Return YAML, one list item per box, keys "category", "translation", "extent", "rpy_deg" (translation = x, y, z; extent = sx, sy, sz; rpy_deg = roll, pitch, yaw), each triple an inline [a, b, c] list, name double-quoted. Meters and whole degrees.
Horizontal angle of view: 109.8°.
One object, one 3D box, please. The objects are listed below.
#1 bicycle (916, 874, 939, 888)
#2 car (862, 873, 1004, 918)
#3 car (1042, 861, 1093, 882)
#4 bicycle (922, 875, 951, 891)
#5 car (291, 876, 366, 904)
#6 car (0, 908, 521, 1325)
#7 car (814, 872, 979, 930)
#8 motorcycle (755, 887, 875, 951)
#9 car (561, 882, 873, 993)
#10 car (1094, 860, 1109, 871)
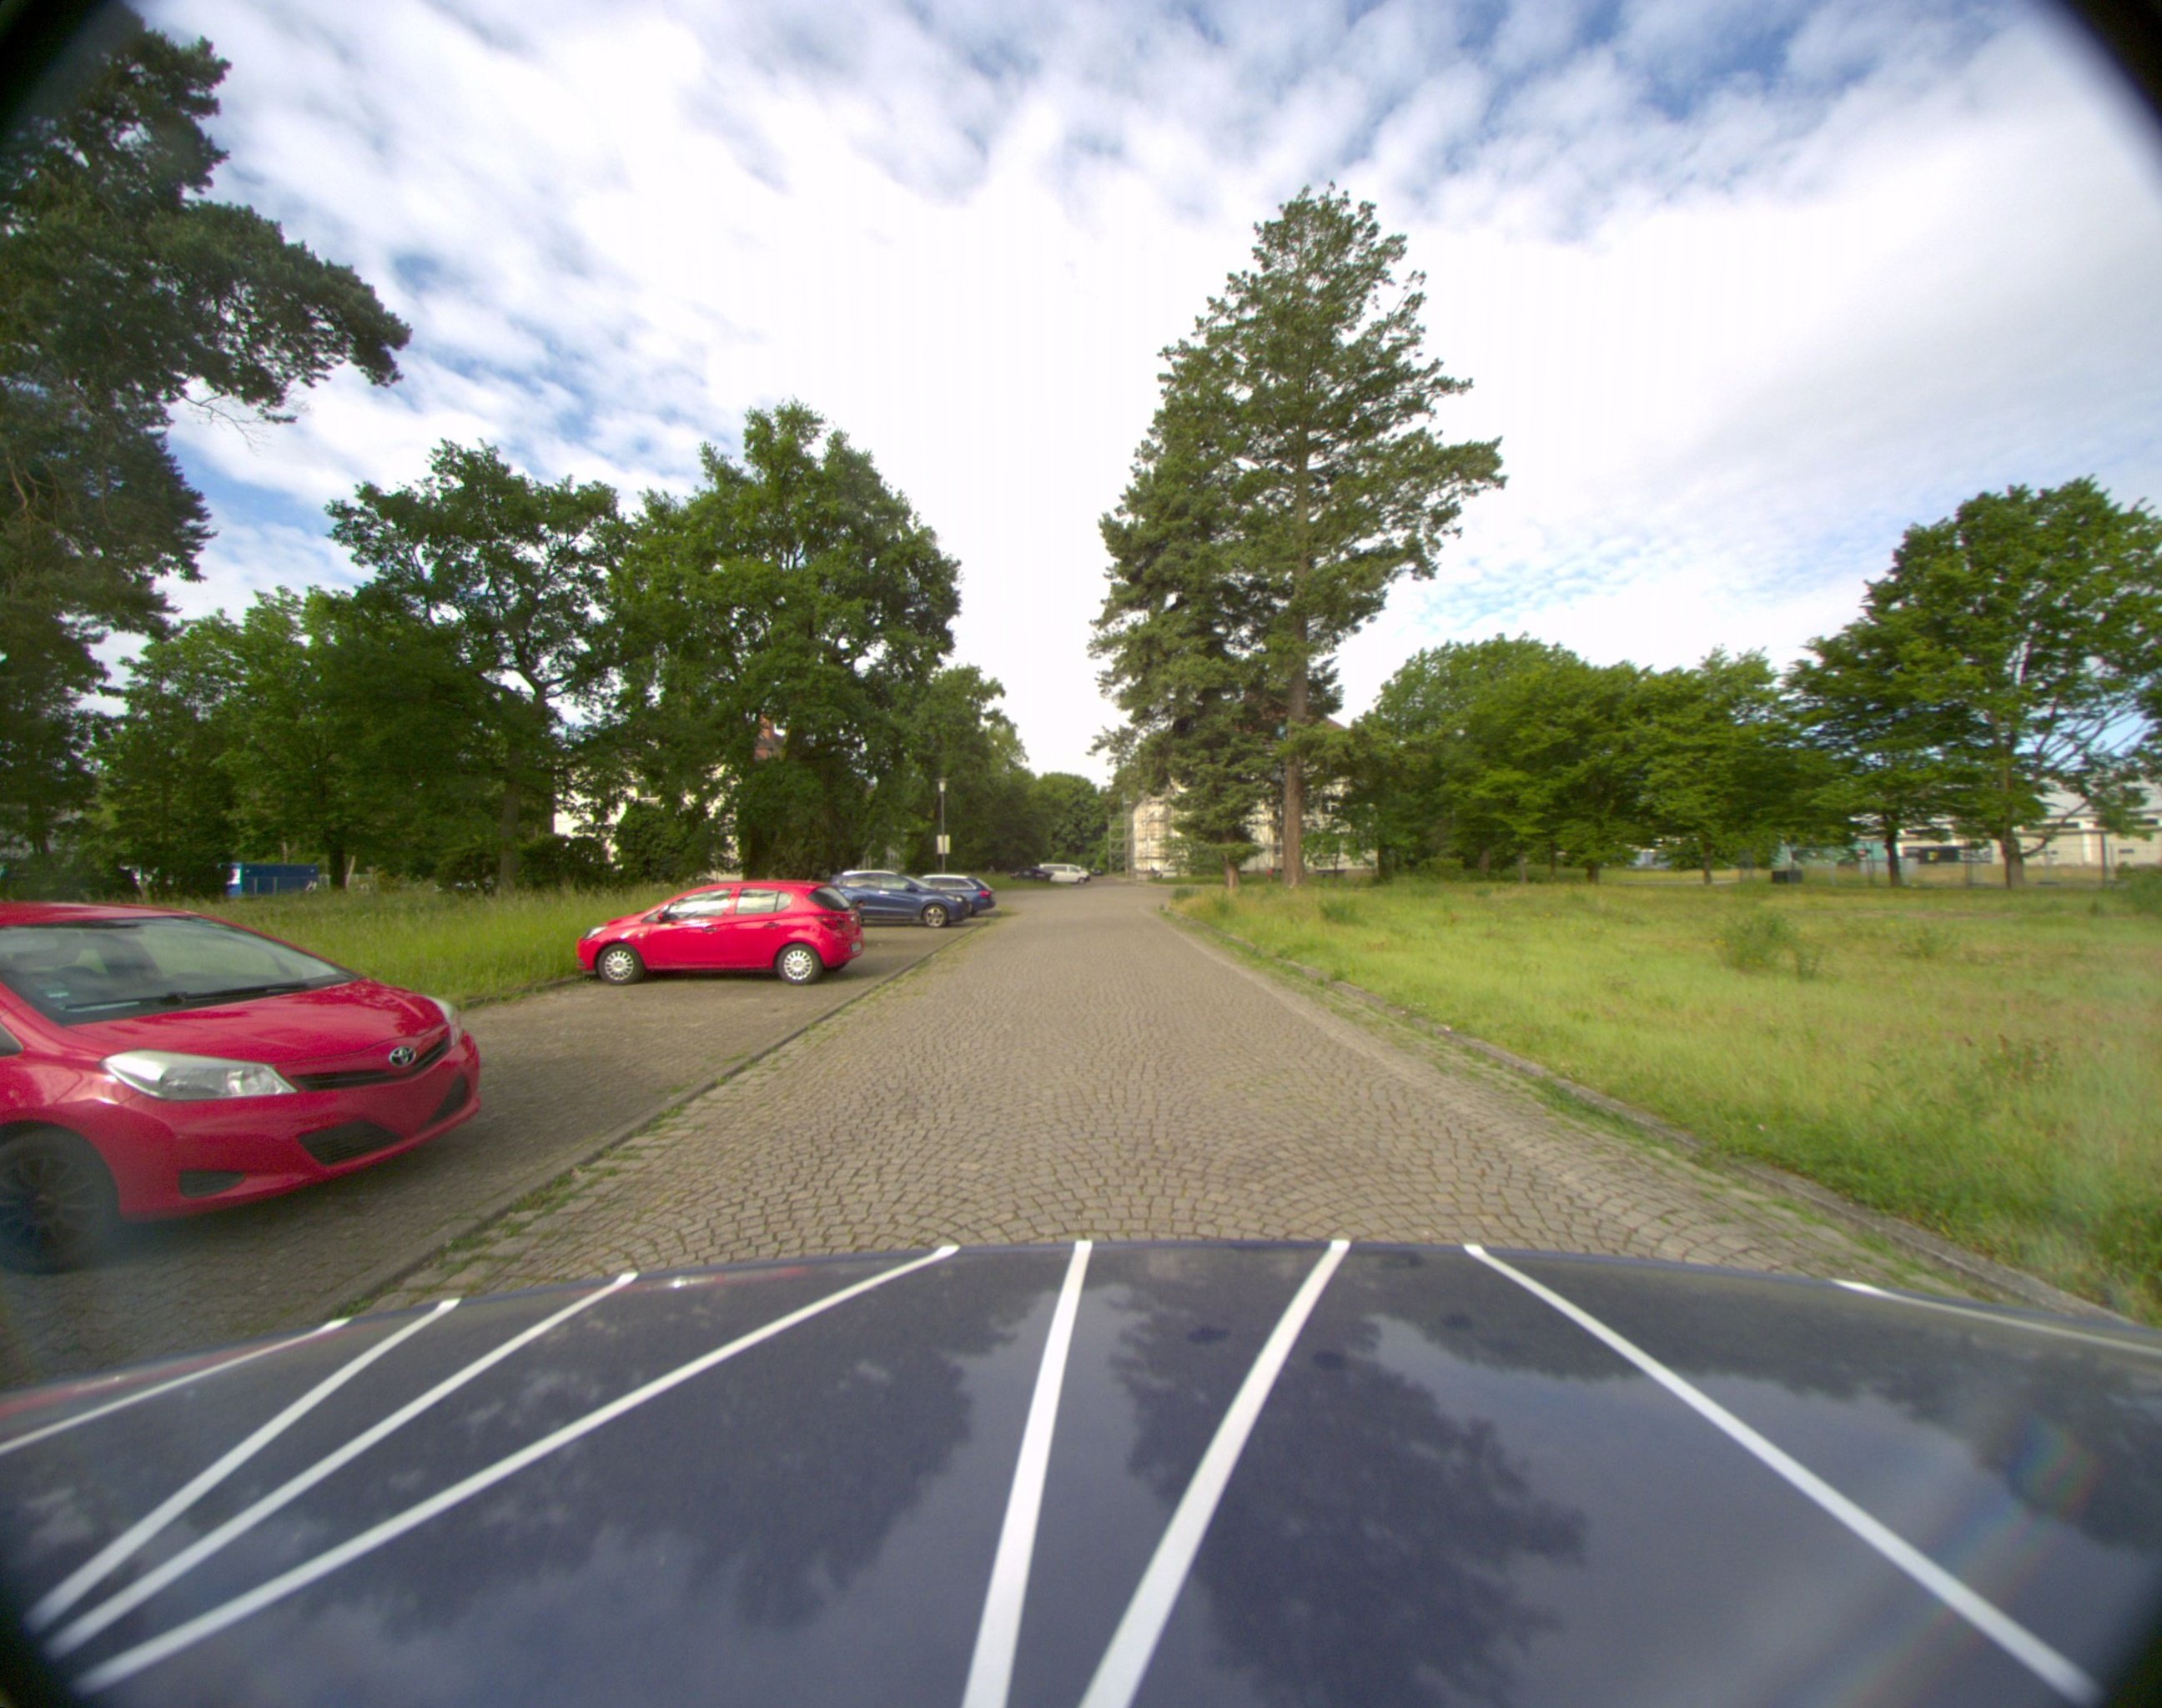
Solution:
- category: "bicycle"
  translation: [-12.365, 2.158, 61.145]
  extent: [1.753, 1.082, 0.552]
  rpy_deg: [0, 2, -22]
- category: "car"
  translation: [-5.096, 1.429, 26.518]
  extent: [4.515, 1.456, 1.896]
  rpy_deg: [0, -1, 3]
- category: "car"
  translation: [-1.364, 1.698, 75.250]
  extent: [4.916, 1.982, 2.000]
  rpy_deg: [-1, -1, -3]
- category: "bicycle"
  translation: [-10.446, 2.080, 54.894]
  extent: [2.020, 1.082, 0.478]
  rpy_deg: [0, 2, -22]
- category: "car"
  translation: [-60.383, 2.833, 61.072]
  extent: [1.784, 2.002, 4.084]
  rpy_deg: [-2, 0, 1]
- category: "car"
  translation: [-5.478, 1.115, 3.821]
  extent: [3.997, 1.509, 1.738]
  rpy_deg: [-1, -1, 0]
- category: "car"
  translation: [-5.172, 1.308, 21.737]
  extent: [4.274, 1.564, 1.895]
  rpy_deg: [0, -1, -1]
- category: "motorcycle"
  translation: [-5.519, 1.339, 15.841]
  extent: [2.271, 1.267, 0.605]
  rpy_deg: [0, 0, -5]
- category: "car"
  translation: [-5.280, 1.186, 11.429]
  extent: [3.849, 1.496, 1.738]
  rpy_deg: [0, -1, -1]
- category: "car"
  translation: [3.843, 2.155, 141.889]
  extent: [2.029, 1.915, 3.997]
  rpy_deg: [-1, -1, -11]
